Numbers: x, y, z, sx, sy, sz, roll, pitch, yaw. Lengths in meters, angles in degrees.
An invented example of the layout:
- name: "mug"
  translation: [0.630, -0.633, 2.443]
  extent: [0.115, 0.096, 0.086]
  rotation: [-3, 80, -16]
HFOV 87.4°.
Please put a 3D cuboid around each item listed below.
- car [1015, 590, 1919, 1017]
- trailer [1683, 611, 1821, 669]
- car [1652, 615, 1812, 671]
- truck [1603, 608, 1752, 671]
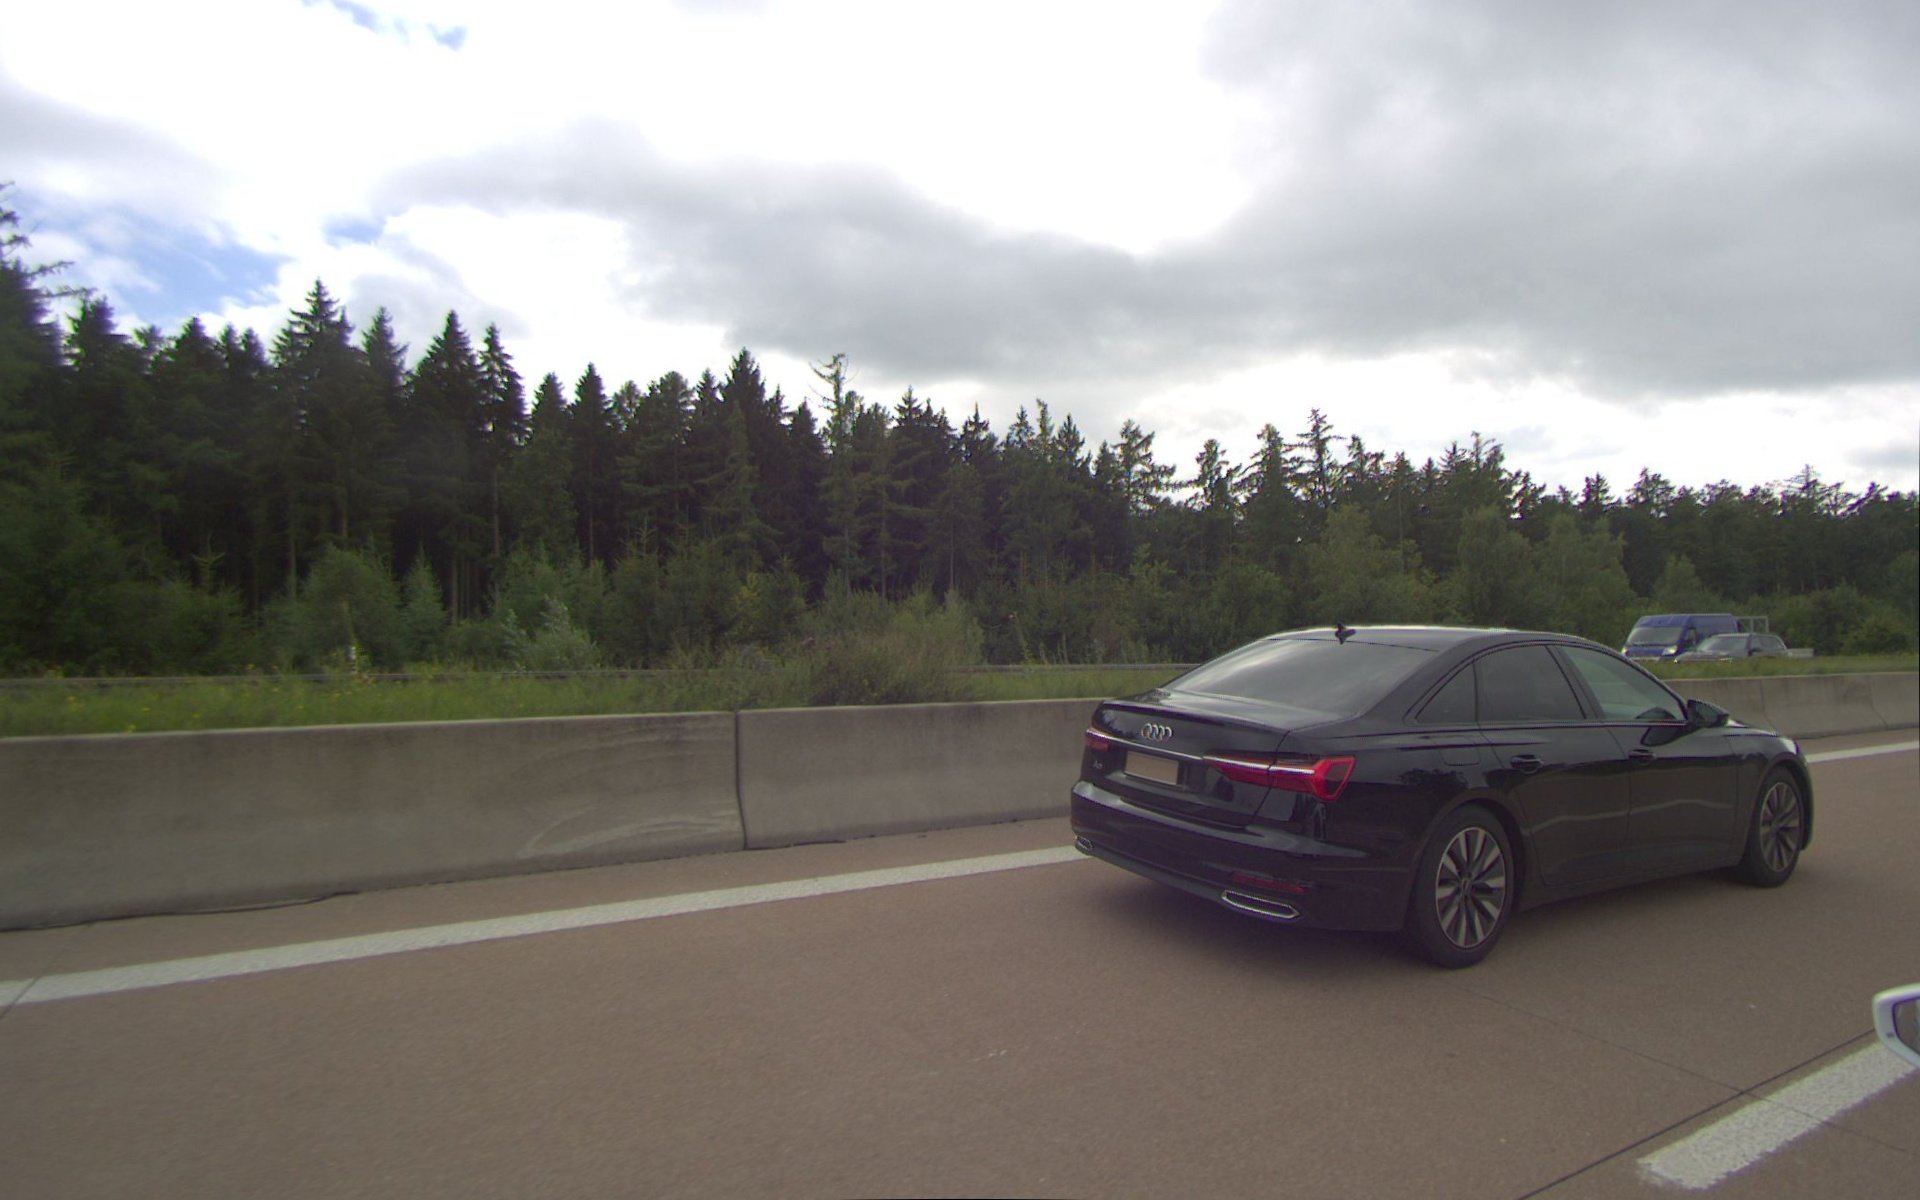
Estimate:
- name: "car"
  translation: [3.261, 0.798, 5.970]
  extent: [5.603, 1.571, 2.077]
  rotation: [1, 0, -28]
- name: "trailer"
  translation: [32.298, 1.614, 40.917]
  extent: [6.116, 2.190, 2.321]
  rotation: [1, 0, -30]
- name: "car"
  translation: [24.764, 1.347, 32.189]
  extent: [5.067, 1.648, 2.335]
  rotation: [1, 0, -30]
- name: "truck"
  translation: [27.059, 1.449, 37.837]
  extent: [5.972, 2.190, 2.335]
  rotation: [1, 0, -30]
